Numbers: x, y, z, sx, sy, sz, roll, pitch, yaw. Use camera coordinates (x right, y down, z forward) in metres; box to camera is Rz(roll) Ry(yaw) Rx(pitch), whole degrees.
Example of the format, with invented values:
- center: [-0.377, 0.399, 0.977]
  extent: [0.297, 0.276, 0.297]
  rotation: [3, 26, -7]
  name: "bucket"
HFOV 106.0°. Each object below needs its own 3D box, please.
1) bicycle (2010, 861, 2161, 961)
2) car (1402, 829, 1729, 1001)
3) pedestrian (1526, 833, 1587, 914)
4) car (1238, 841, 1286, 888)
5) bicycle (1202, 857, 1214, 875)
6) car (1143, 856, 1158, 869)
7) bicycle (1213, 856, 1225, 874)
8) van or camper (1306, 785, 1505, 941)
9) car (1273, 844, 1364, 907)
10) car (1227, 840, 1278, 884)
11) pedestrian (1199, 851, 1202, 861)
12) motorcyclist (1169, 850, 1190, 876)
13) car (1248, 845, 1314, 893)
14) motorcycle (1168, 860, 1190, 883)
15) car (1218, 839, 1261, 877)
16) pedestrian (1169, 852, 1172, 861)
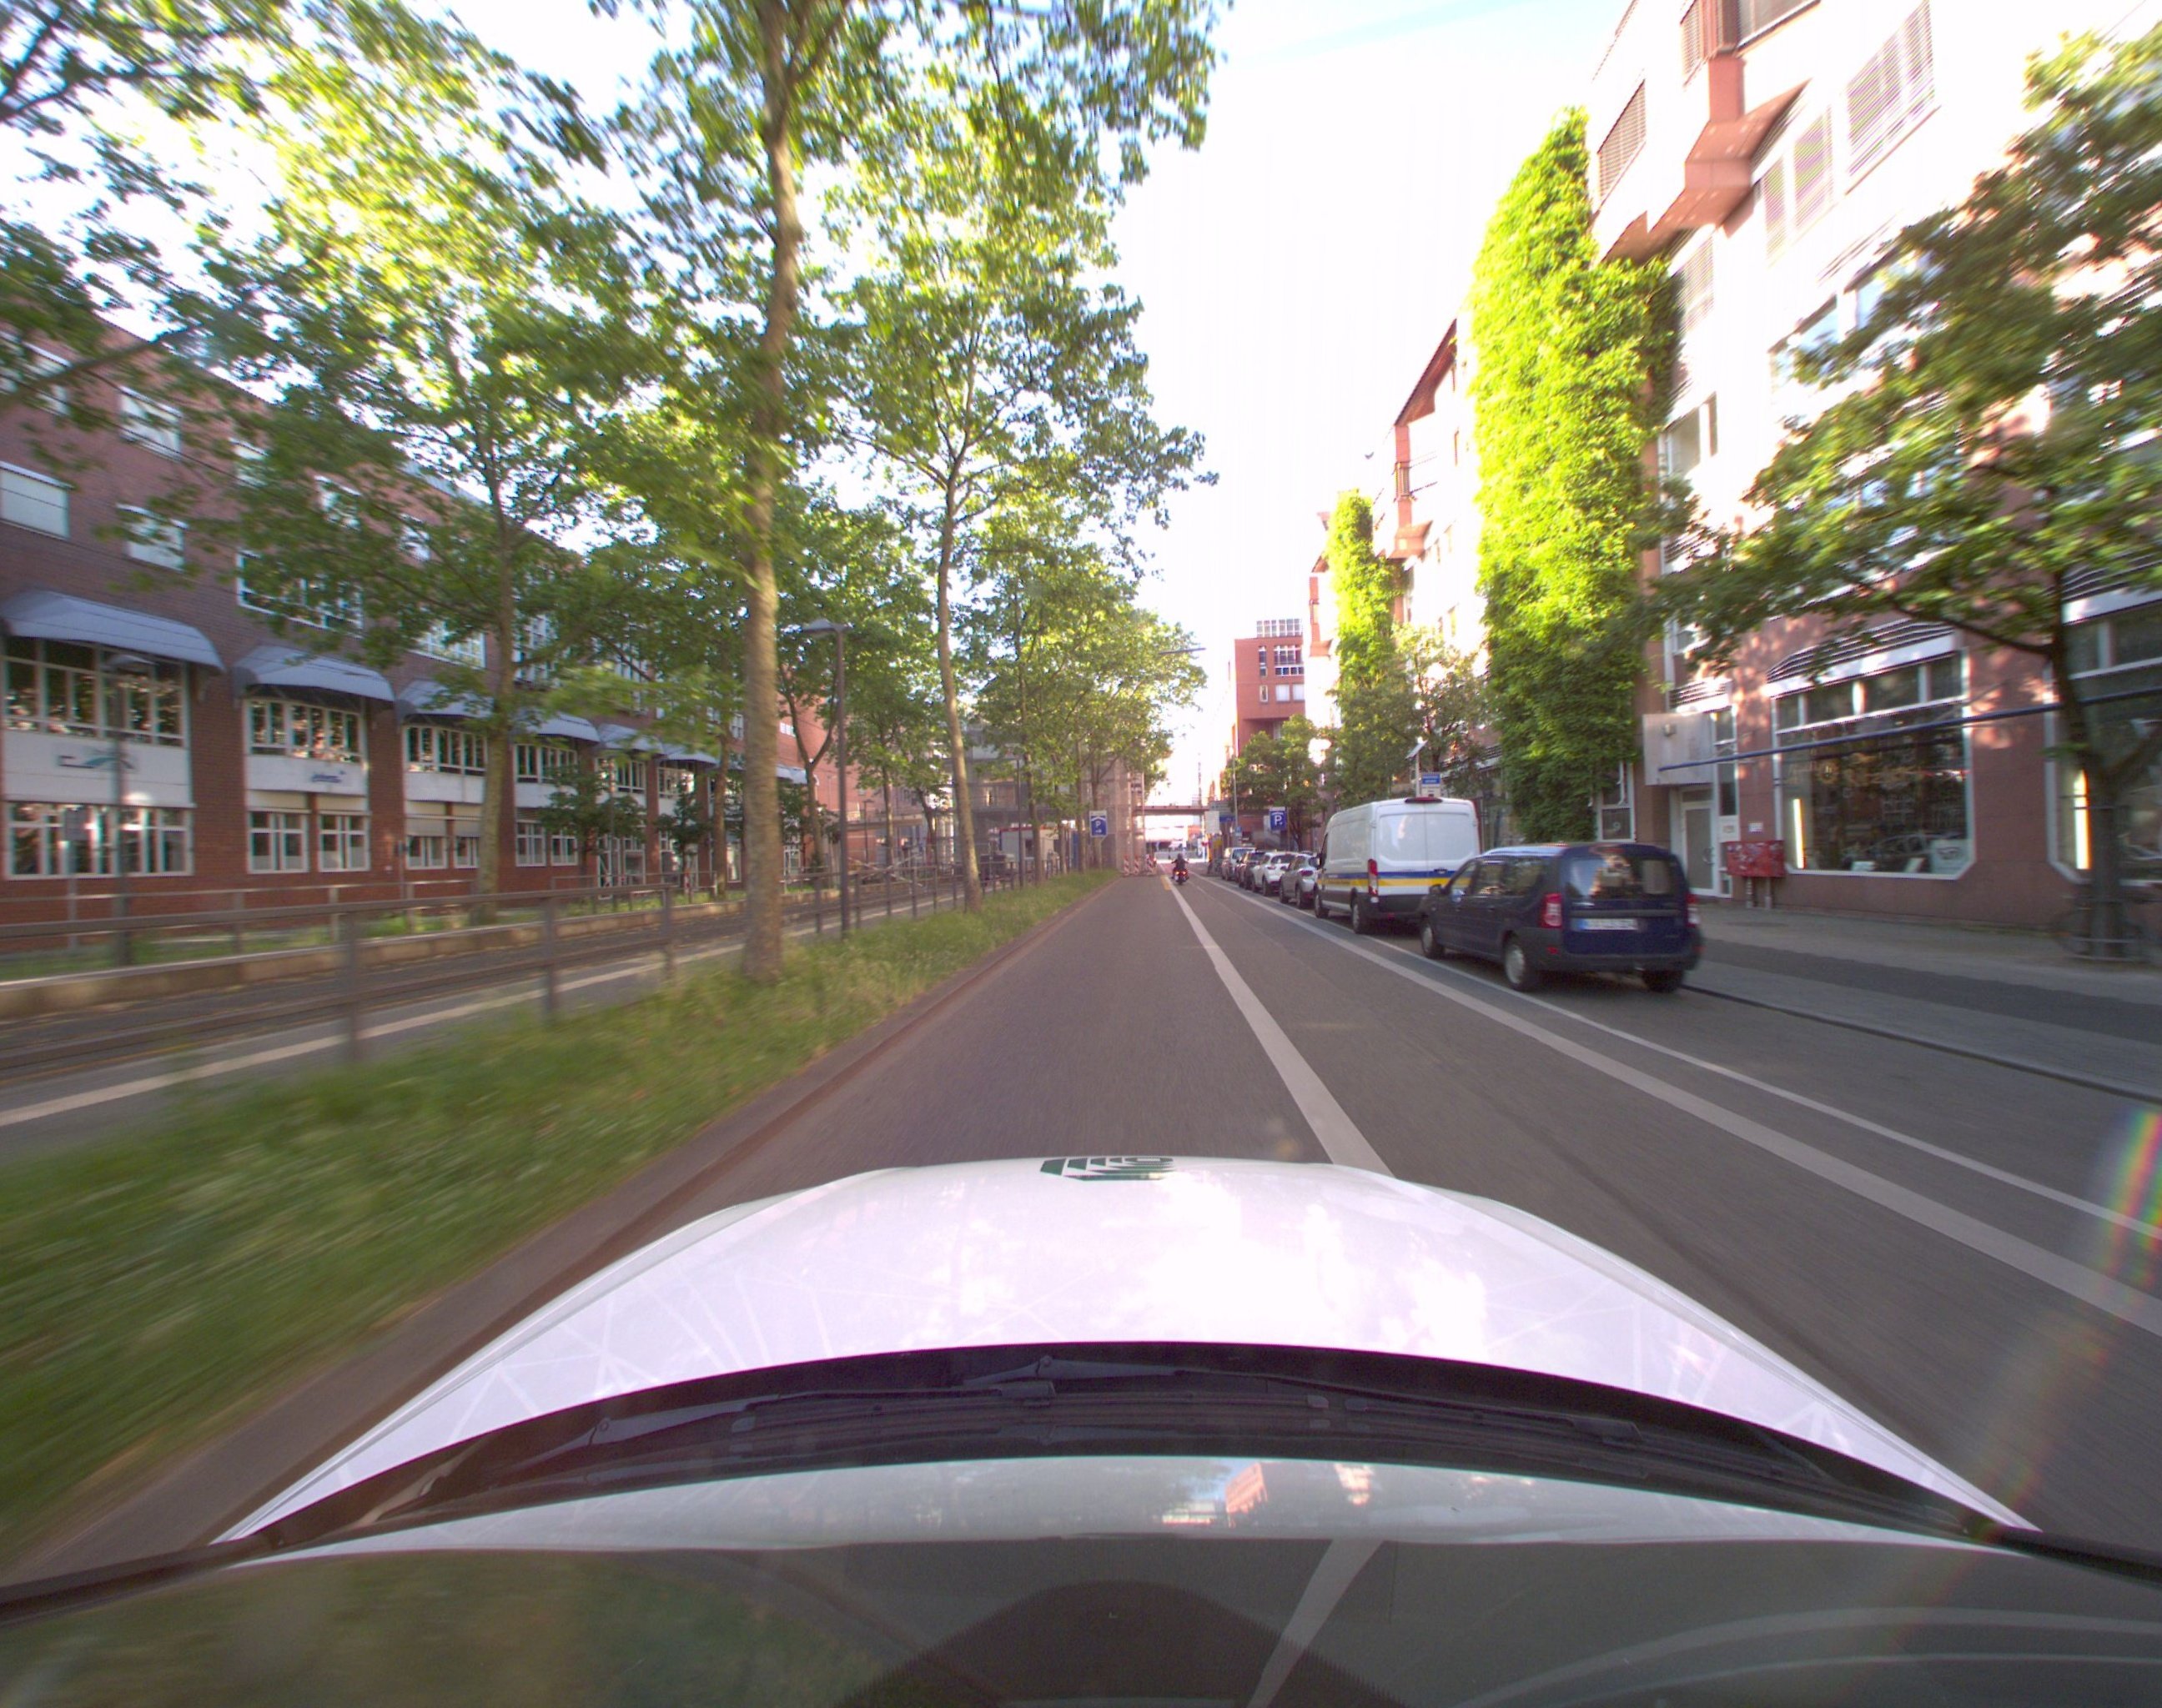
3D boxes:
- center: [11.608, 0.599, 8.914]
  extent: [0.616, 1.020, 1.912]
  rotation: [-2, 0, -3]
  name: "bicycle"
- center: [5.585, 0.597, 10.157]
  extent: [1.613, 1.619, 4.490]
  rotation: [-2, 0, 4]
  name: "car"
- center: [8.697, 0.354, 14.917]
  extent: [0.760, 1.445, 0.783]
  rotation: [-1, -1, 14]
  name: "pedestrian"
- center: [7.625, 0.415, 34.576]
  extent: [1.611, 1.865, 3.782]
  rotation: [-2, 0, 7]
  name: "car"
- center: [9.089, 0.816, 58.245]
  extent: [0.660, 1.234, 2.231]
  rotation: [-2, 0, 6]
  name: "bicycle"
- center: [9.637, 1.234, 113.326]
  extent: [1.845, 1.717, 4.001]
  rotation: [-2, 0, 1]
  name: "car"
- center: [9.866, 0.801, 58.154]
  extent: [0.660, 1.234, 2.231]
  rotation: [-2, 0, 6]
  name: "bicycle"
- center: [6.207, 0.148, 16.483]
  extent: [2.039, 2.540, 5.780]
  rotation: [-2, 0, 4]
  name: "van or camper"
- center: [6.722, 0.563, 23.401]
  extent: [1.614, 1.603, 3.777]
  rotation: [-2, 0, 2]
  name: "car"
- center: [8.466, 0.372, 40.575]
  extent: [1.827, 2.013, 4.392]
  rotation: [-2, 0, 4]
  name: "car"
- center: [23.893, 0.352, 162.486]
  extent: [0.537, 1.882, 0.531]
  rotation: [-2, 0, 16]
  name: "pedestrian"
- center: [4.951, 0.440, 40.886]
  extent: [1.006, 1.263, 0.776]
  rotation: [0, 0, 8]
  name: "motorcyclist"
- center: [7.281, 0.511, 30.014]
  extent: [1.614, 1.610, 3.777]
  rotation: [-2, 0, 2]
  name: "car"
- center: [4.931, 0.873, 40.893]
  extent: [1.012, 1.097, 2.012]
  rotation: [-1, 0, 8]
  name: "motorcycle"
- center: [9.021, 0.244, 46.620]
  extent: [1.827, 2.013, 4.392]
  rotation: [-2, 0, 4]
  name: "car"
- center: [18.107, 0.517, 164.080]
  extent: [0.538, 1.882, 0.530]
  rotation: [-2, 0, 9]
  name: "pedestrian"
